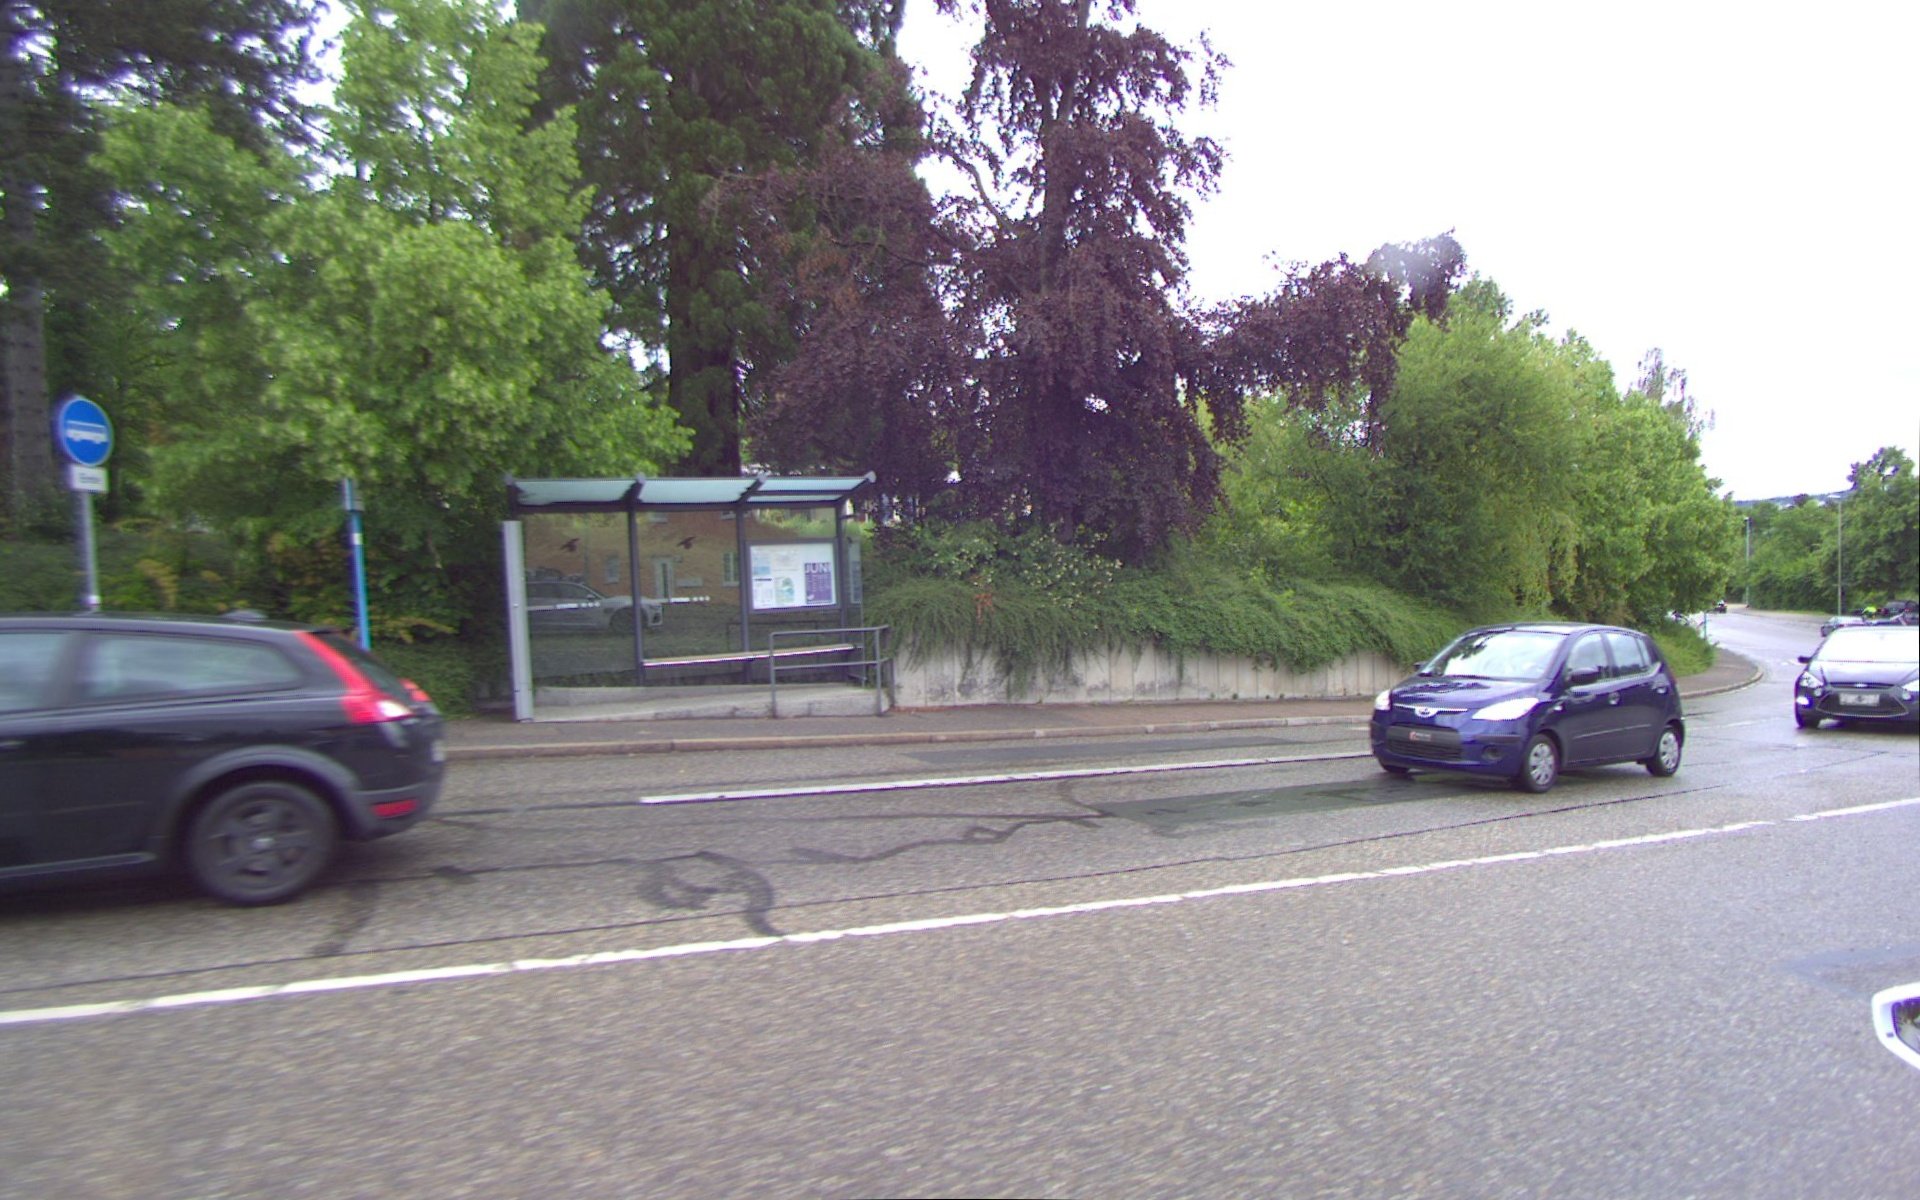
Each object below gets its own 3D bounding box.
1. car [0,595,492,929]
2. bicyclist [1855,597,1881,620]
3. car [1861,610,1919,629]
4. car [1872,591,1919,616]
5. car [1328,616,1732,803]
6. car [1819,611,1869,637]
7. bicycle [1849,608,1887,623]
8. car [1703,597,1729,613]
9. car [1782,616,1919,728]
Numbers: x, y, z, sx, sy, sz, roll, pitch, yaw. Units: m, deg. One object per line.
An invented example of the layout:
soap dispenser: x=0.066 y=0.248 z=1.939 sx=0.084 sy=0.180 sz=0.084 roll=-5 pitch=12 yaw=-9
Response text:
car: x=-4.809 y=0.739 z=5.135 sx=4.343 sy=1.466 sz=1.786 roll=1 pitch=-2 yaw=-25
bicyclist: x=70.617 y=0.636 z=78.156 sx=0.842 sy=1.779 sz=1.278 roll=0 pitch=0 yaw=-23
car: x=68.114 y=1.408 z=72.806 sx=4.074 sy=1.402 sz=1.720 roll=0 pitch=-1 yaw=38
car: x=76.079 y=0.235 z=81.453 sx=4.849 sy=1.712 sz=1.936 roll=-4 pitch=4 yaw=-33
car: x=5.917 y=0.948 z=10.288 sx=4.326 sy=1.483 sz=1.713 roll=-1 pitch=0 yaw=-31
car: x=57.697 y=1.527 z=65.643 sx=1.697 sy=1.484 sz=3.990 roll=3 pitch=3 yaw=31
bicycle: x=70.614 y=1.180 z=78.149 sx=0.842 sy=1.171 sz=2.026 roll=0 pitch=-1 yaw=-23
car: x=78.376 y=0.471 z=104.236 sx=1.697 sy=1.484 sz=3.990 roll=3 pitch=3 yaw=31
car: x=15.239 y=1.084 z=16.469 sx=4.645 sy=1.598 sz=1.796 roll=1 pitch=-1 yaw=-38
